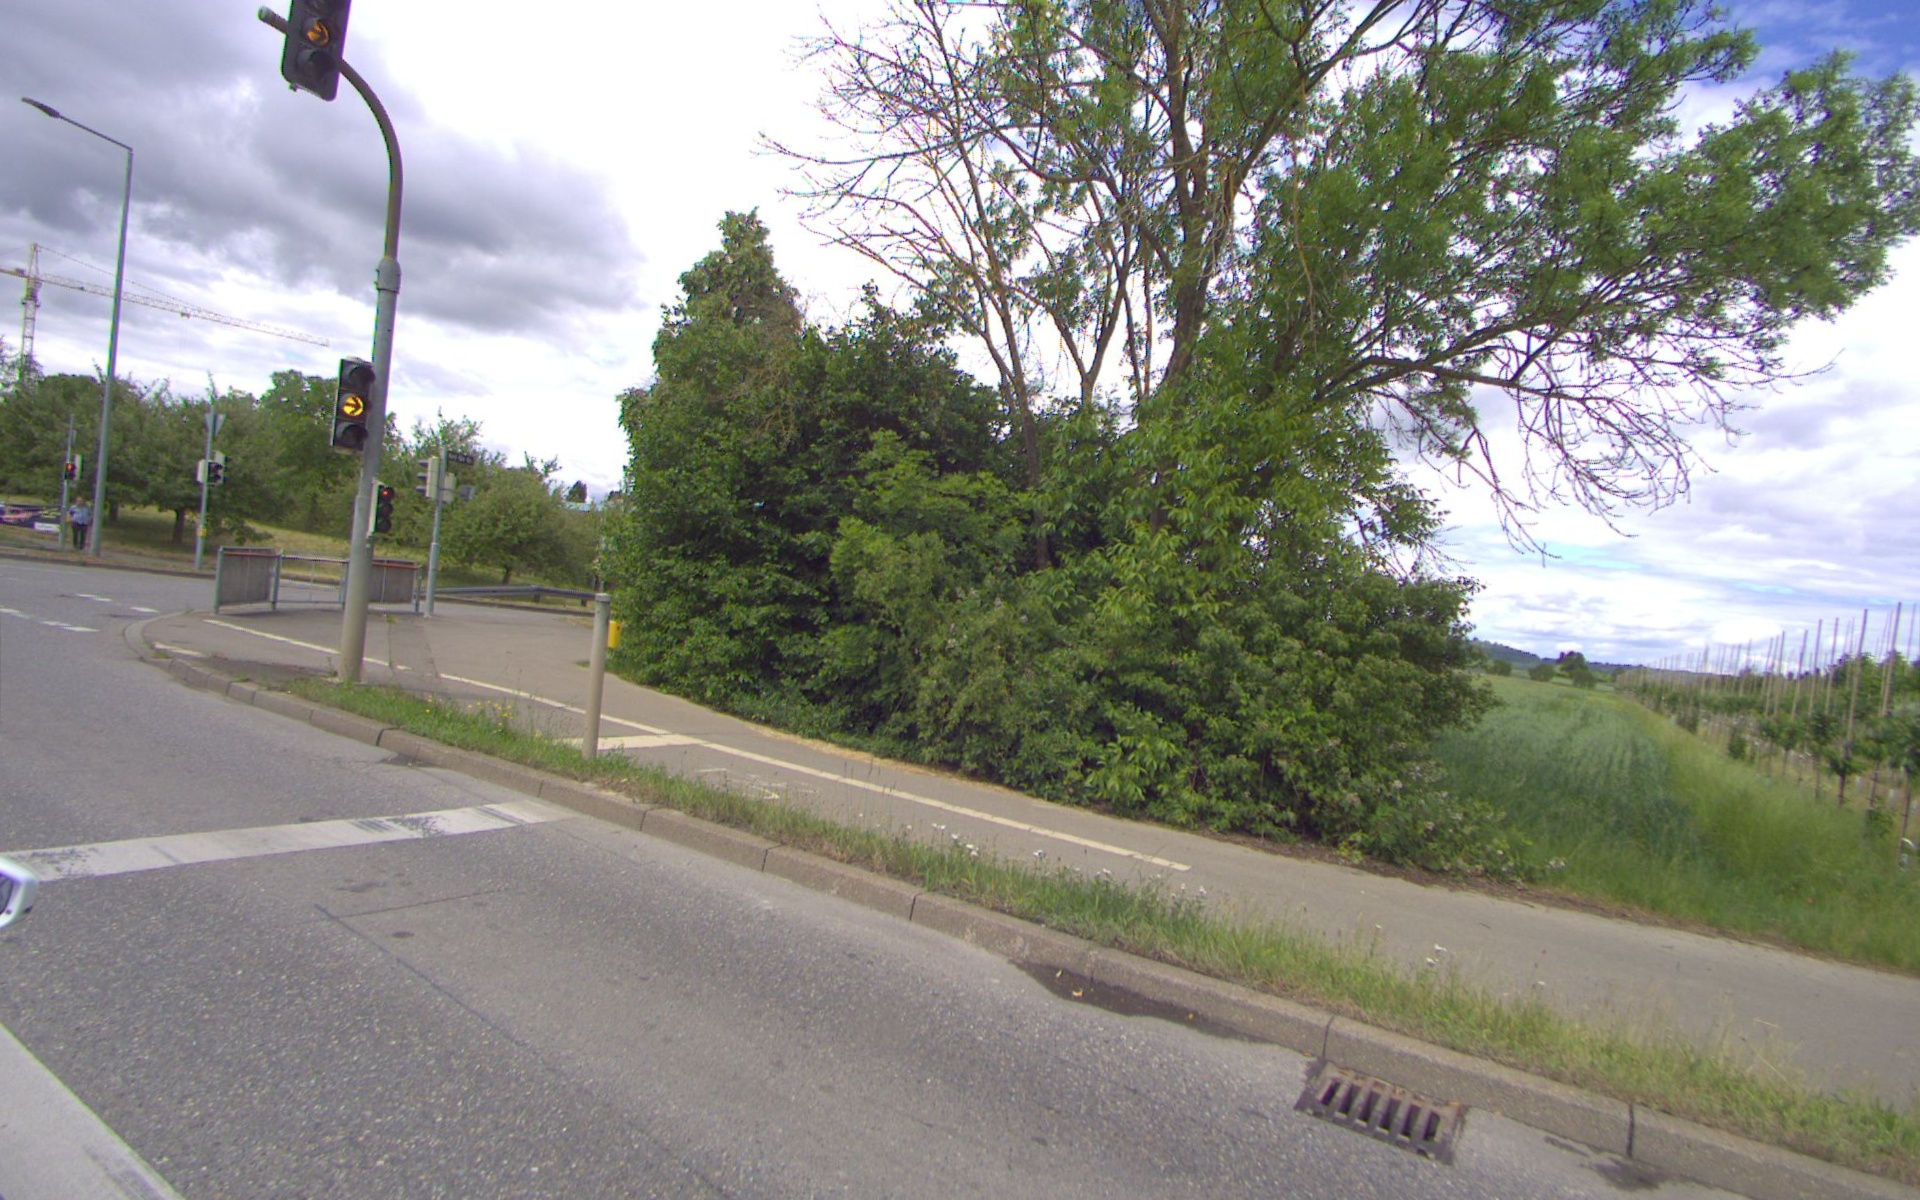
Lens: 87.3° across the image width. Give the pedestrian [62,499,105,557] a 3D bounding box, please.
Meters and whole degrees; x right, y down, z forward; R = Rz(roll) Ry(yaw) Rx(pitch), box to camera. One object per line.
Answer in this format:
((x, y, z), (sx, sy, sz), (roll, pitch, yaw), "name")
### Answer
((-29.753, -2.444, 34.135), (1.027, 1.813, 0.719), (6, -1, 36), "pedestrian")
